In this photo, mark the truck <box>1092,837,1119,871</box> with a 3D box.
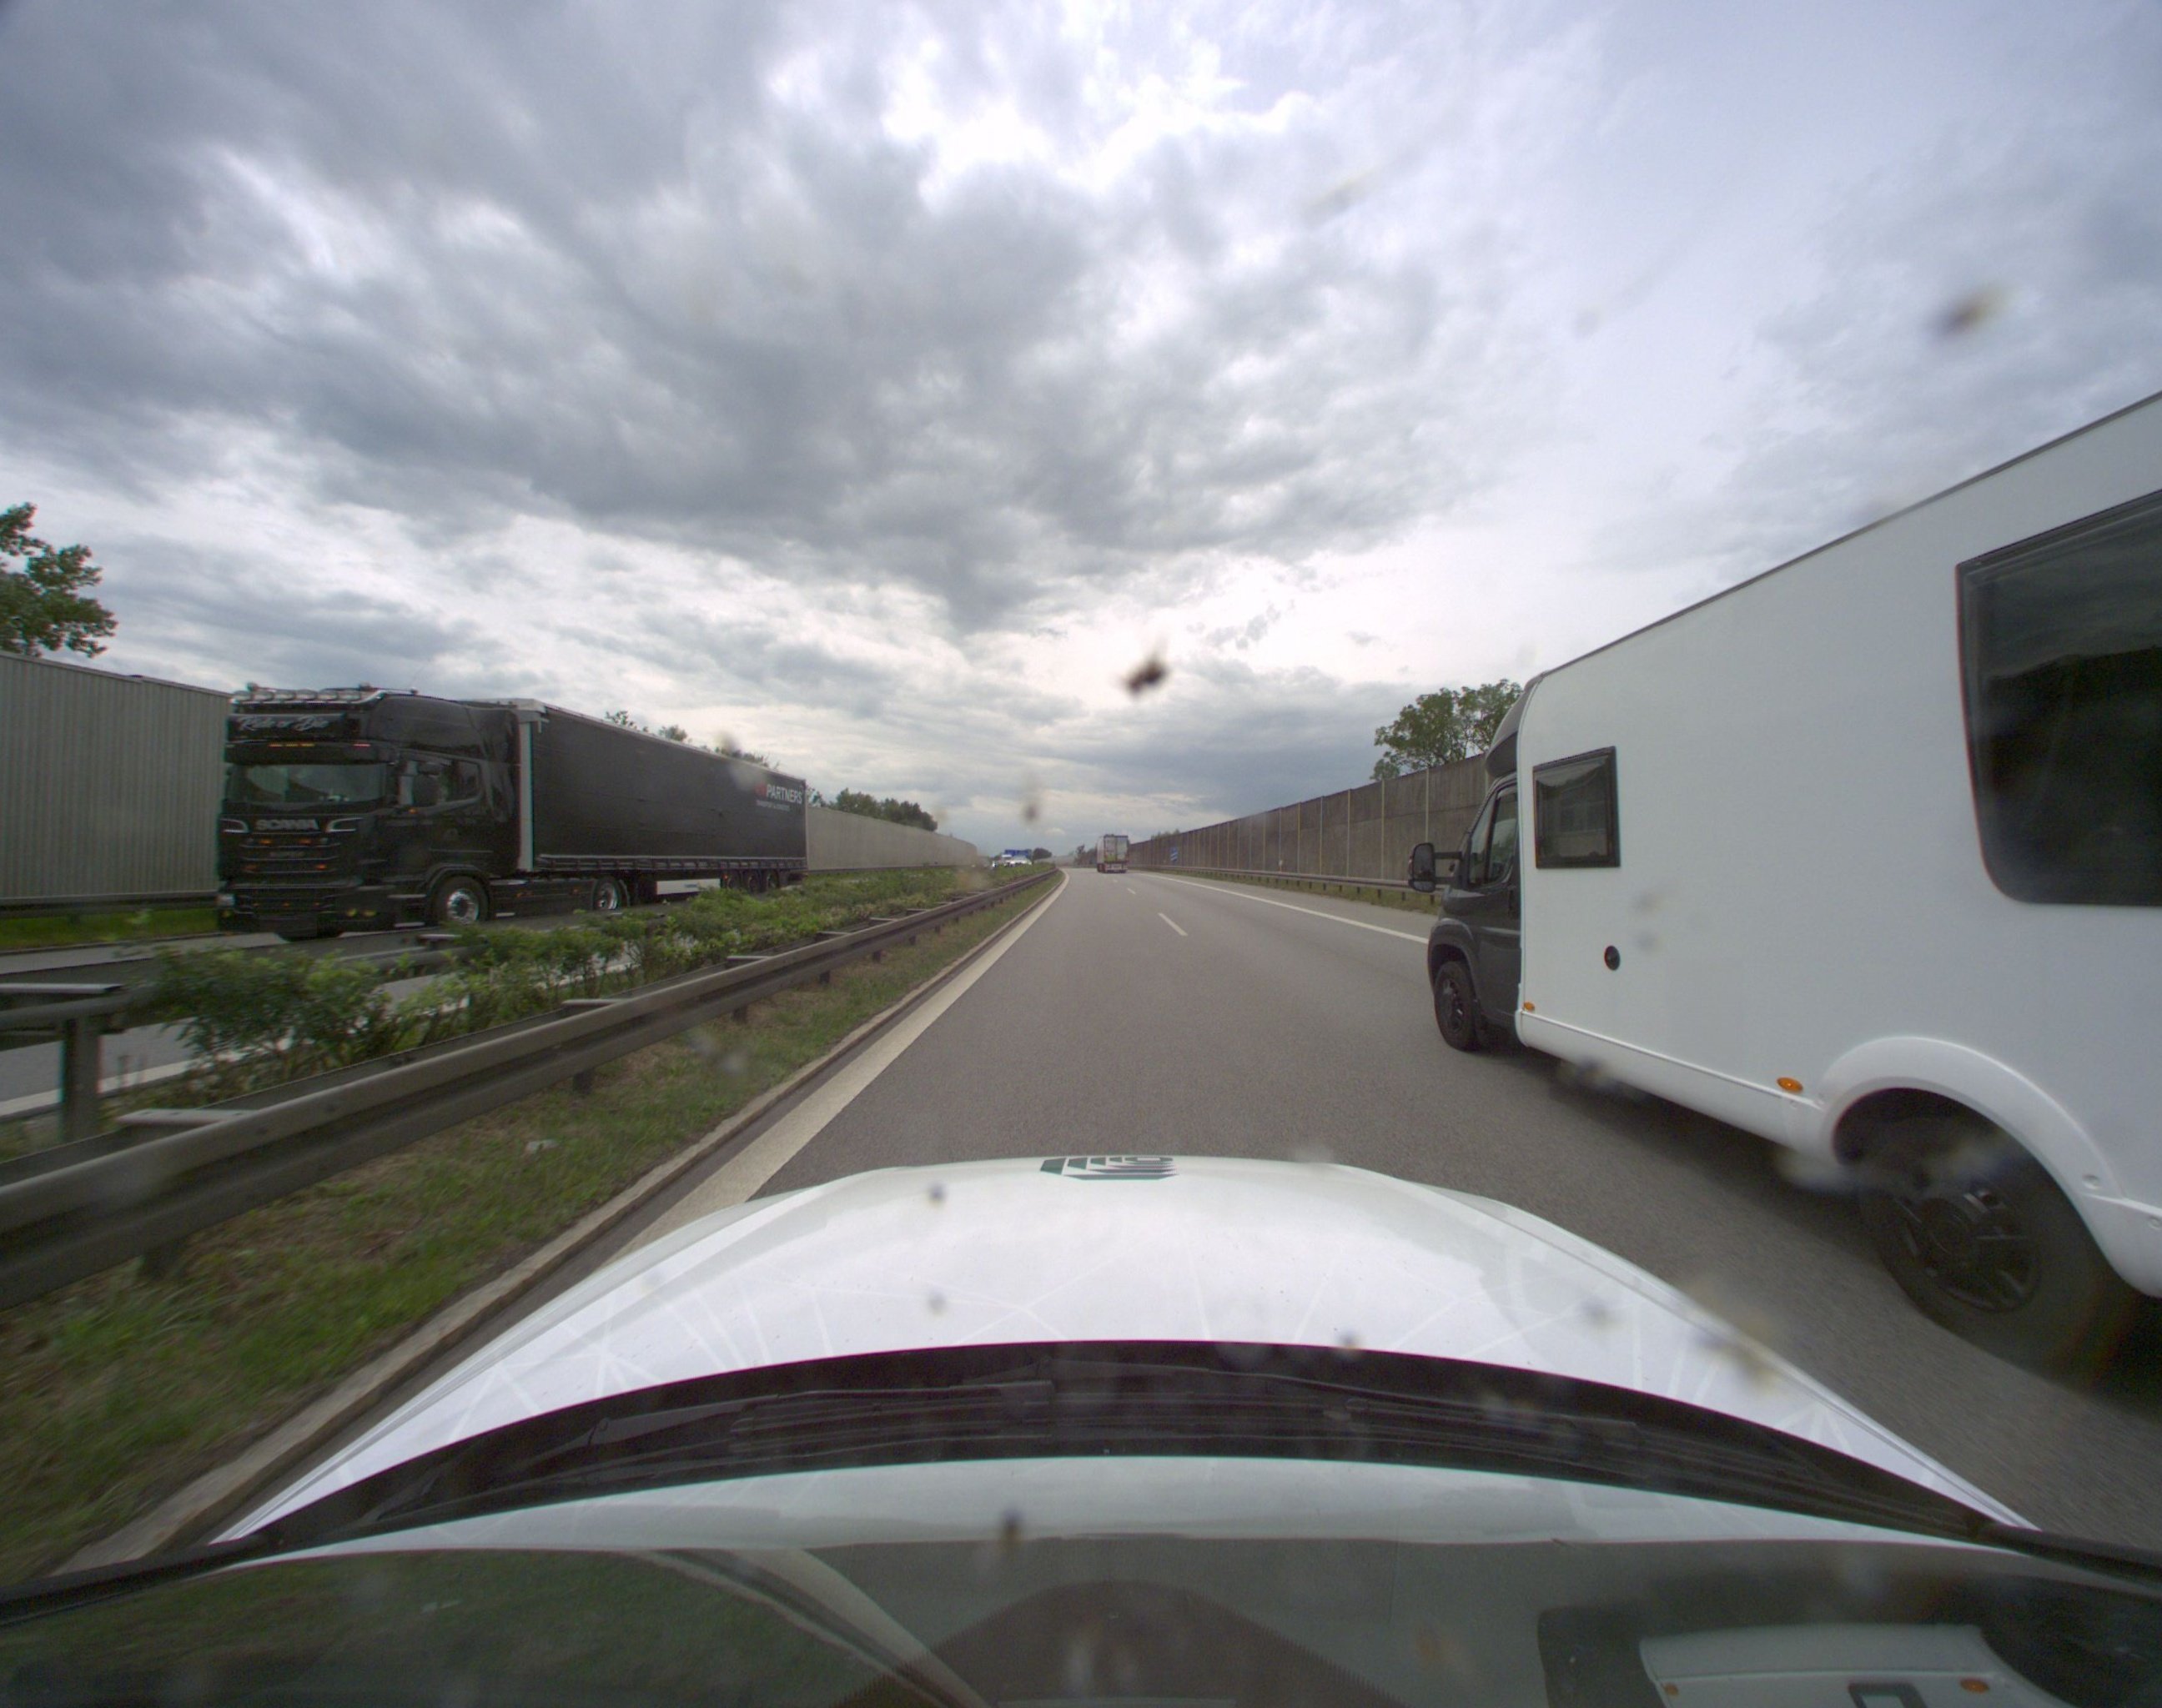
[{"bbox_3d":[2.974,0.019,99.439,2.751,3.960,5.668,0,-1,-4],"label":"truck"}]

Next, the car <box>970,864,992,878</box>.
[{"bbox_3d":[-10.561,1.787,86.358,1.717,1.417,4.553,-1,0,0],"label":"car"}]

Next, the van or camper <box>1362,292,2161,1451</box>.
[{"bbox_3d":[3.771,0.046,4.027,2.420,2.696,7.227,0,0,1],"label":"van or camper"}]

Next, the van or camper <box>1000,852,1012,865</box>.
[{"bbox_3d":[-13.837,0.849,150.894,1.989,2.441,6.301,-1,0,-3],"label":"van or camper"}]

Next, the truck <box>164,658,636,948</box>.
[{"bbox_3d":[-10.786,-0.676,13.948,2.863,3.859,6.076,-1,0,1],"label":"truck"}]

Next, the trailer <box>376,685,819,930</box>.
[{"bbox_3d":[-10.714,-0.783,21.285,2.971,4.240,14.178,-1,0,0],"label":"trailer"}]

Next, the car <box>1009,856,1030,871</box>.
[{"bbox_3d":[-6.819,1.045,91.341,1.957,1.670,4.923,0,0,0],"label":"car"}]

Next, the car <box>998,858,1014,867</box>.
[{"bbox_3d":[-11.286,1.325,122.589,1.988,1.364,4.965,0,0,-1],"label":"car"}]

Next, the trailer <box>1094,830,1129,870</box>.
[{"bbox_3d":[3.340,-0.300,92.955,2.786,4.175,14.086,-1,-1,-3],"label":"trailer"}]
